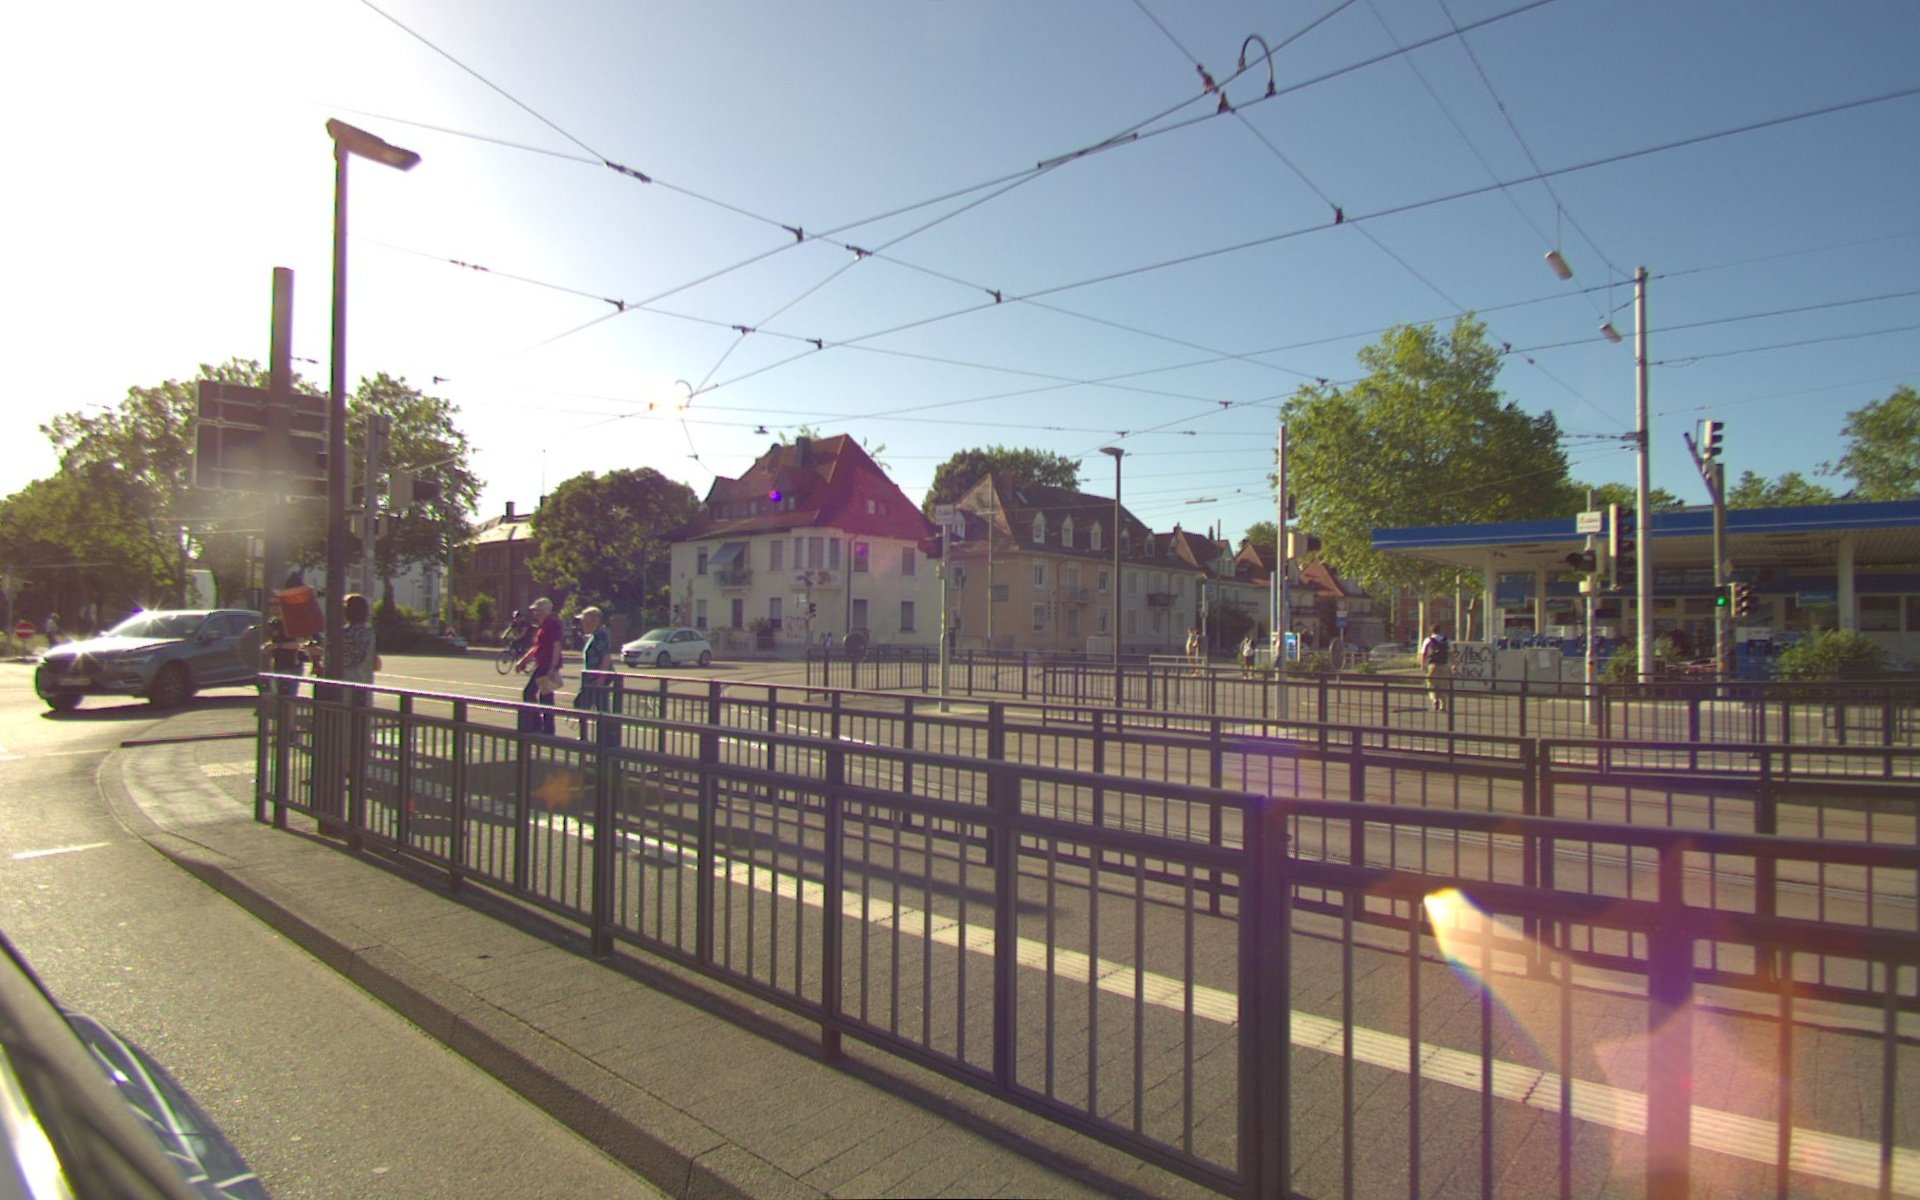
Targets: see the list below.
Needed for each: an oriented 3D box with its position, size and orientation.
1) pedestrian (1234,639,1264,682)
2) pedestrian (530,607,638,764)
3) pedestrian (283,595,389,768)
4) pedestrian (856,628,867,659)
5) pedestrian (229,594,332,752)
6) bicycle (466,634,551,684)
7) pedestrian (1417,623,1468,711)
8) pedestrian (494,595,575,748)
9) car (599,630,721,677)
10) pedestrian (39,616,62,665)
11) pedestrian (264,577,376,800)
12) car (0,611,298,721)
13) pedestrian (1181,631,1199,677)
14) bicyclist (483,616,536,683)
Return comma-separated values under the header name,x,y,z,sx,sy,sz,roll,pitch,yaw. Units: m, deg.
name,x,y,z,sx,sy,sz,roll,pitch,yaw
pedestrian,10.243,2.141,35.875,0.800,1.495,0.758,-1,-2,39
pedestrian,-4.333,0.952,11.656,1.008,1.703,0.792,-1,-3,44
pedestrian,-6.464,0.815,10.493,0.776,1.703,0.733,-1,-3,44
pedestrian,-5.575,2.477,57.346,0.408,1.756,0.411,-2,-3,41
pedestrian,-7.692,0.801,11.456,0.776,1.703,0.788,-1,-3,44
bicycle,-13.194,1.697,29.683,1.013,1.367,2.368,0,-2,14
pedestrian,9.617,1.315,20.178,0.824,1.703,0.646,-1,-2,33
pedestrian,-5.359,0.875,12.743,0.808,1.846,0.642,-1,-3,44
car,-11.167,1.963,37.958,1.991,1.616,4.231,-1,-2,28
pedestrian,-34.953,1.546,38.913,0.572,1.849,0.560,2,-3,-39
pedestrian,-5.625,0.747,8.894,0.776,1.841,0.628,-1,-3,44
car,-14.105,1.065,17.973,1.951,1.682,4.625,0,-1,-5
pedestrian,9.026,2.122,39.715,0.486,1.783,0.523,2,-2,-37
bicyclist,-13.179,1.440,29.605,0.984,1.897,0.999,0,-2,14
